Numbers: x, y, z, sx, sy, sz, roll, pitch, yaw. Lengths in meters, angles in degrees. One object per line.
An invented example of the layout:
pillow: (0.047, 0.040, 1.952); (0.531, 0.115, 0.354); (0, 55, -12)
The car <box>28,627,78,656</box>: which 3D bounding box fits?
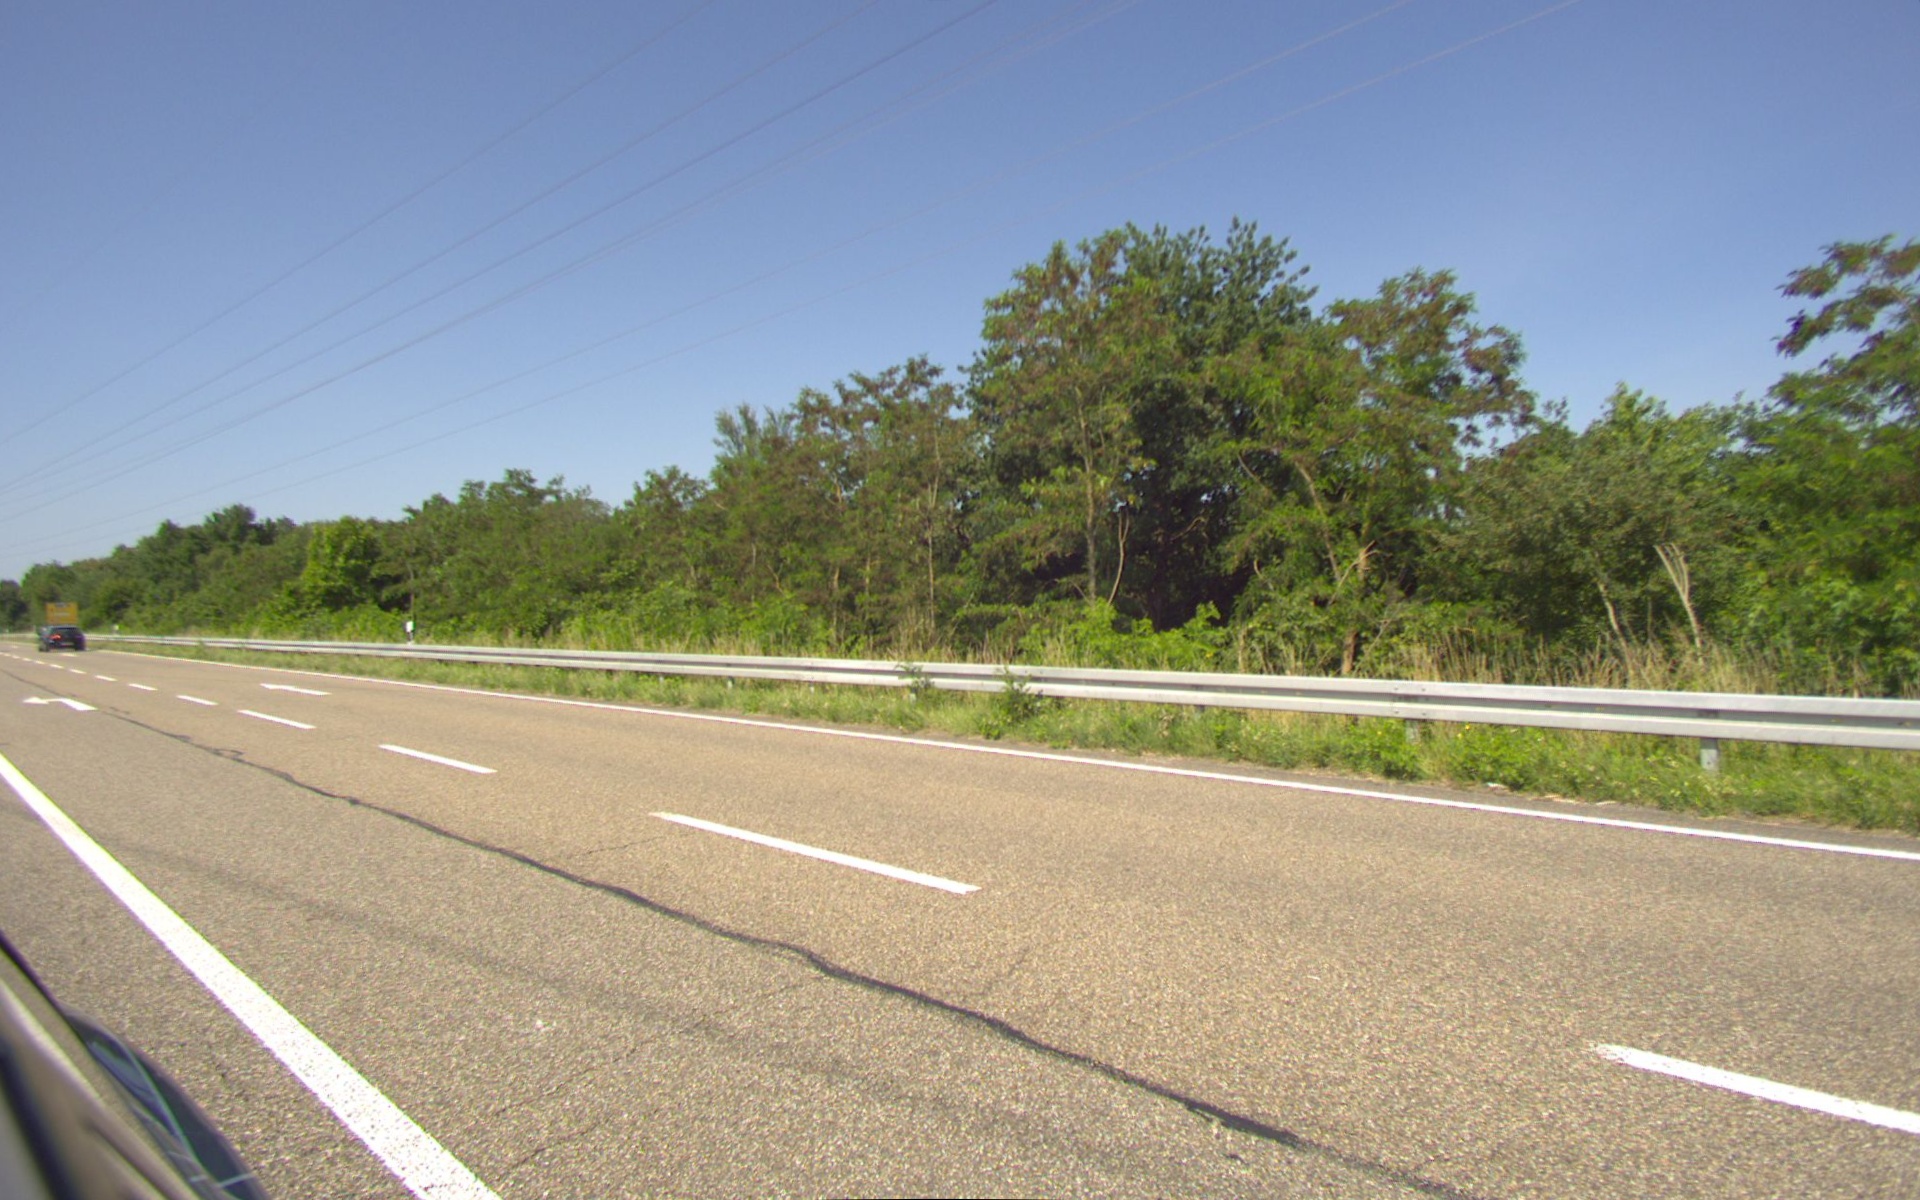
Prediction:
car: (-49.270, 2.247, 54.939); (4.168, 1.453, 1.642); (-2, -1, 43)
